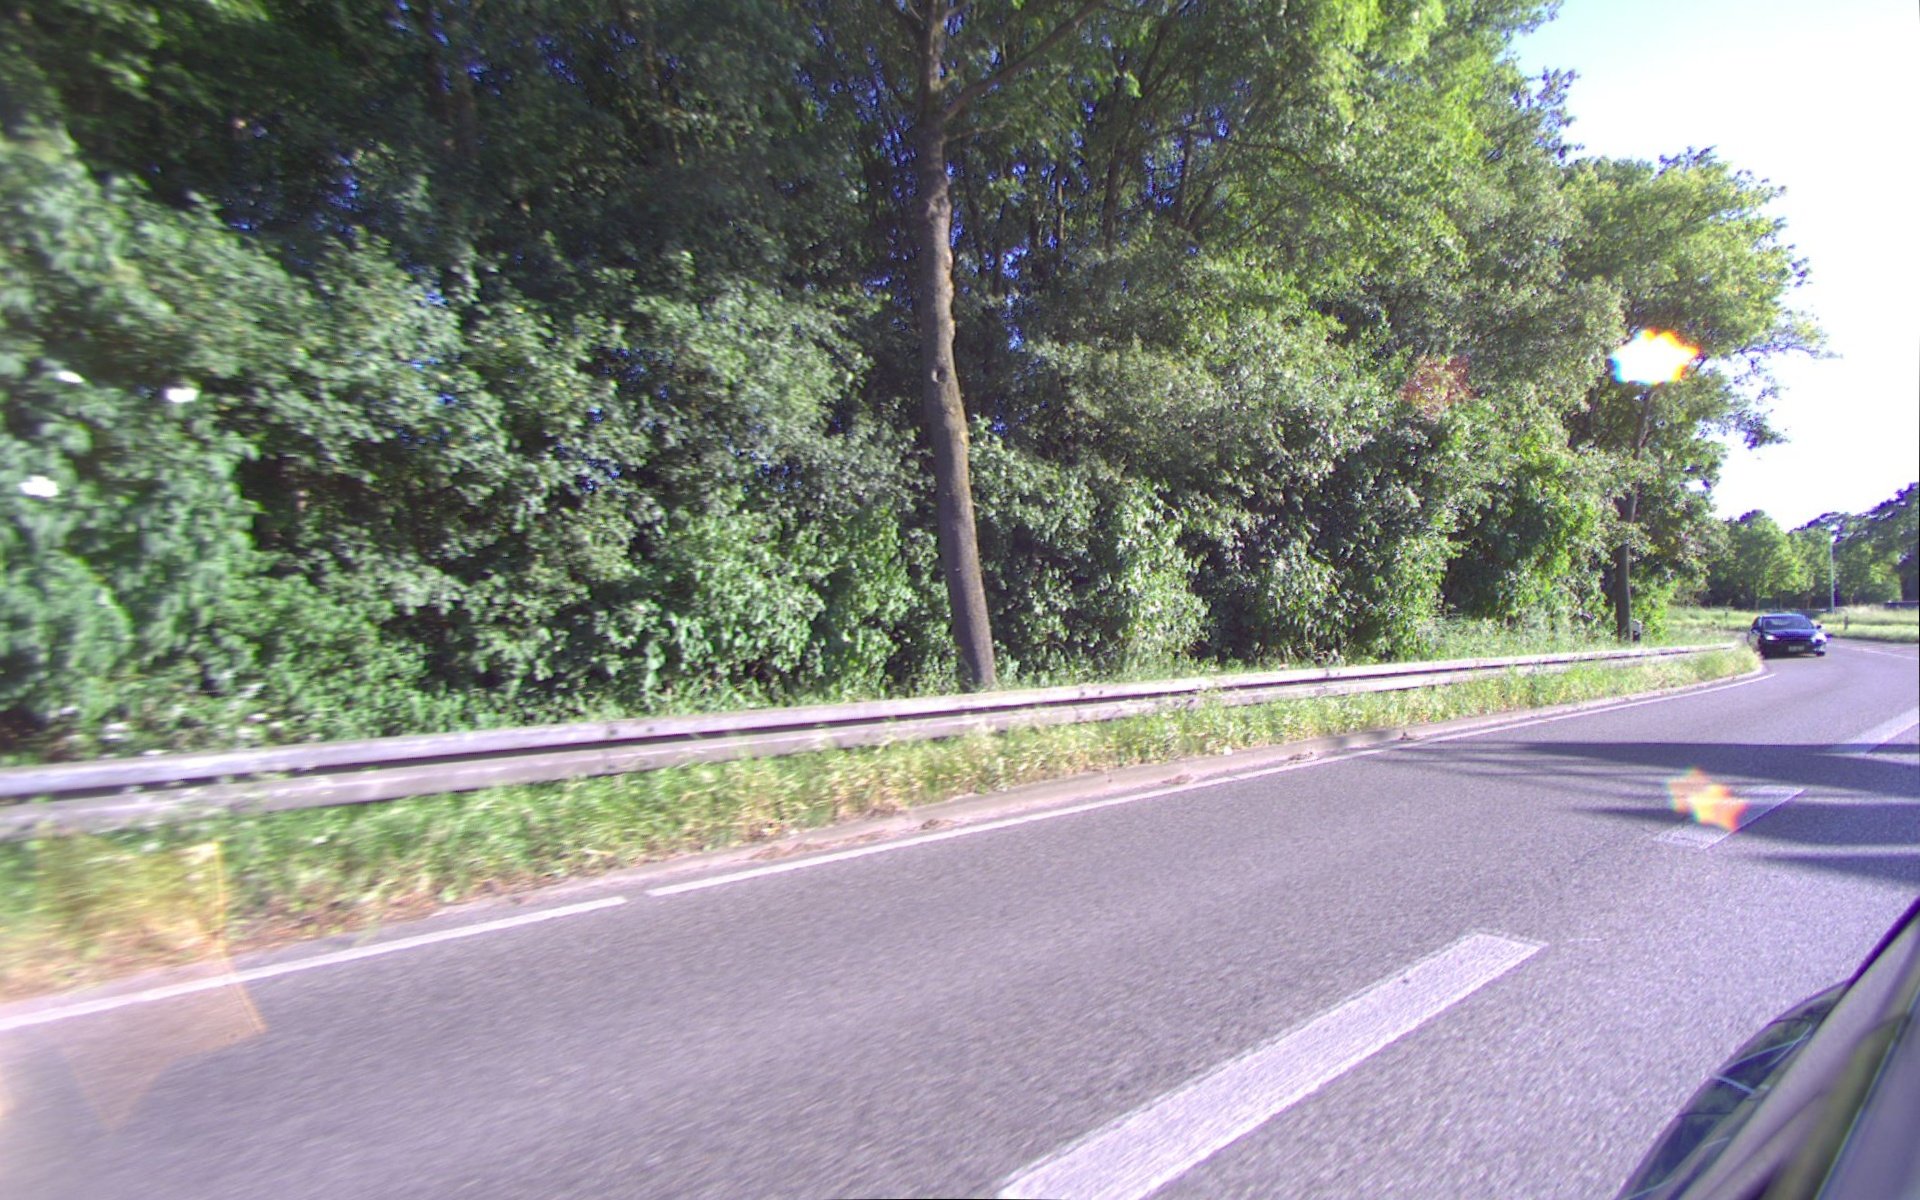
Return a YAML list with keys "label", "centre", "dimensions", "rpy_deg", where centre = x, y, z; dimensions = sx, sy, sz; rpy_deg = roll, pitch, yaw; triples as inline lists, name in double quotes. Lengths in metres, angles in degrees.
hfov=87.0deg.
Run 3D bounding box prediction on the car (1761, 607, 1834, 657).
- label: "car"
  centre: [29.205, 1.070, 35.371]
  dimensions: [1.703, 1.594, 3.378]
  rpy_deg: [0, 0, 36]
